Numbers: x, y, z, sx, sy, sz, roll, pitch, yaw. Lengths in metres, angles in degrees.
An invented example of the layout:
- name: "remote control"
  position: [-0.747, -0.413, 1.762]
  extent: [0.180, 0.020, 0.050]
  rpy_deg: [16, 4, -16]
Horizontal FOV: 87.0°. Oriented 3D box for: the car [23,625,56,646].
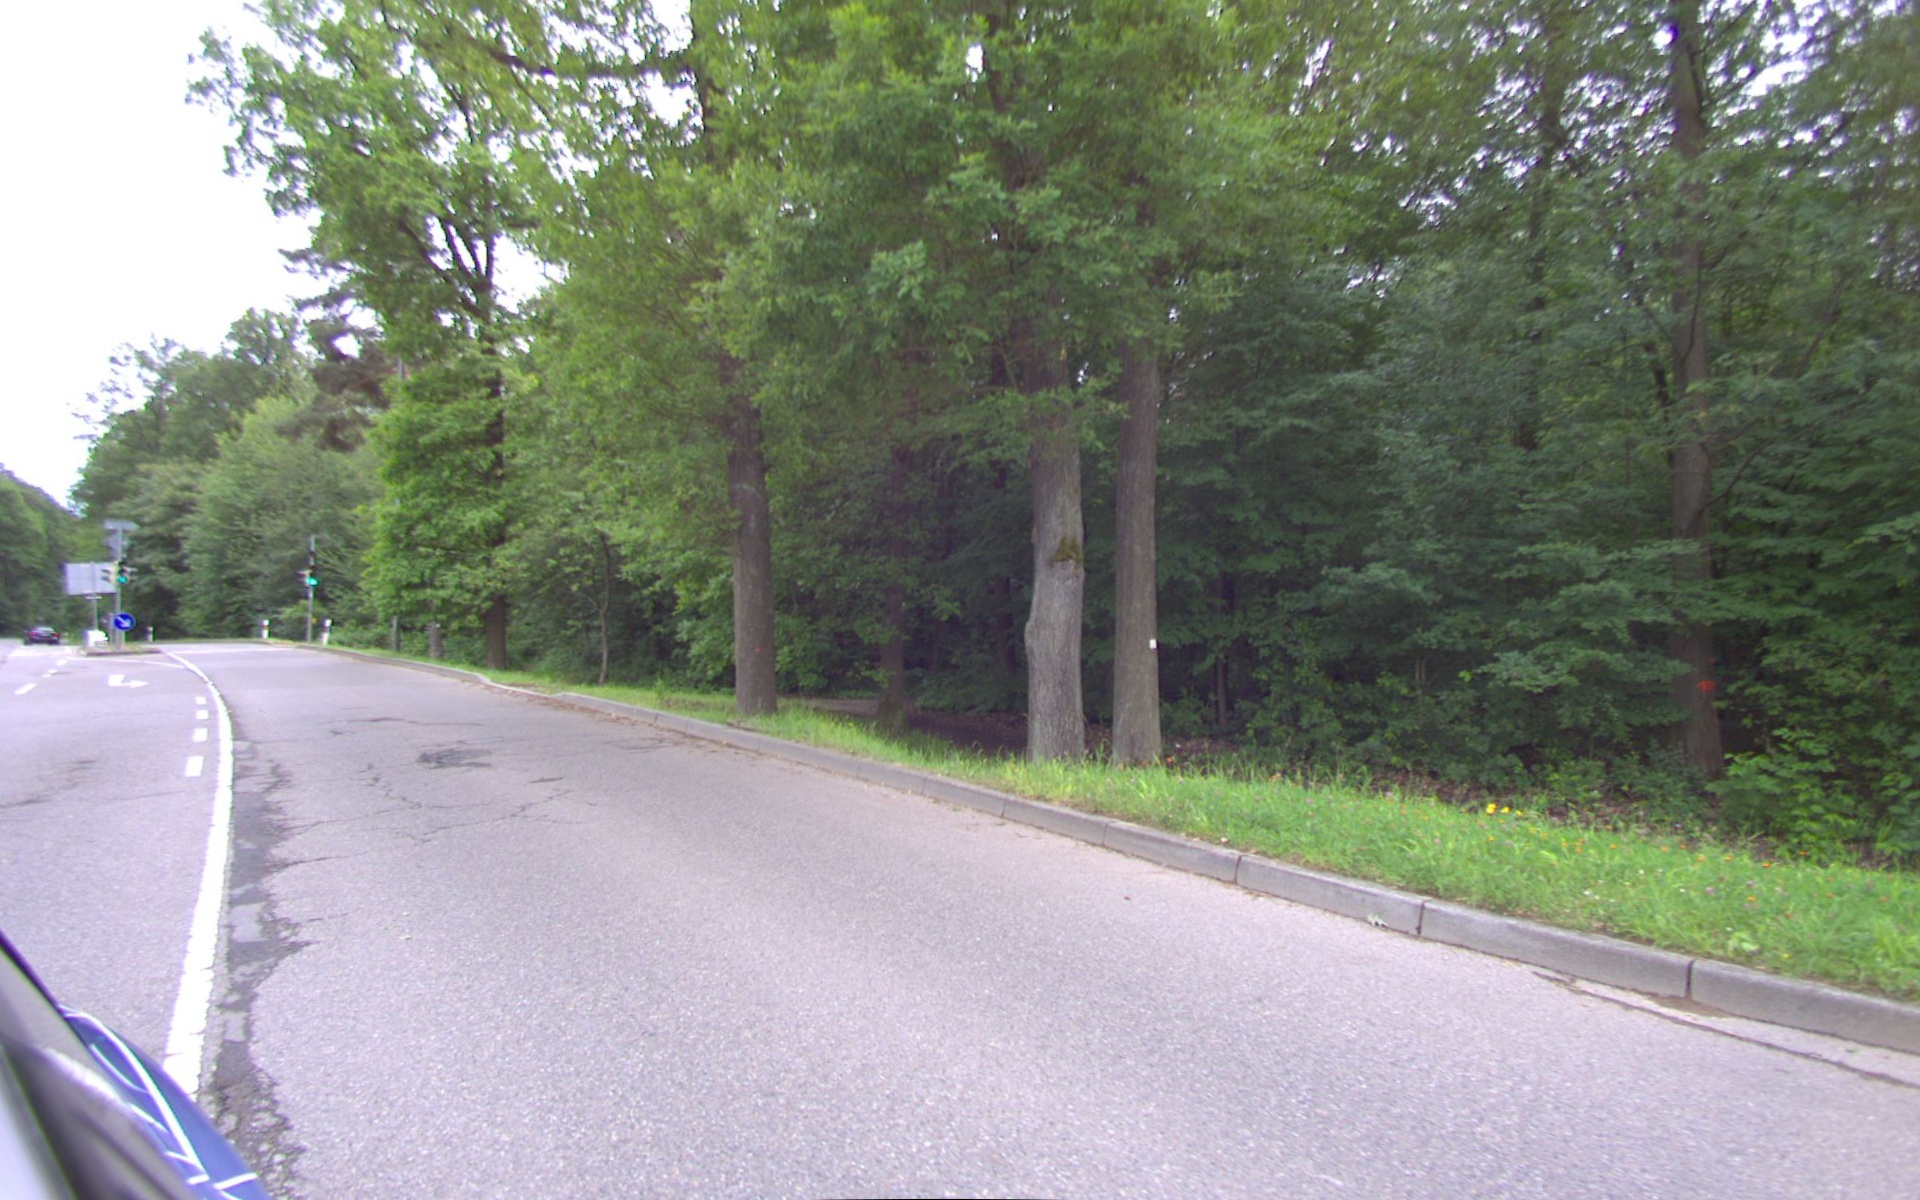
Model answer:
- name: "car"
  position: [-66.416, 2.540, 72.990]
  extent: [1.726, 1.340, 4.004]
  rpy_deg: [-1, 0, -43]
